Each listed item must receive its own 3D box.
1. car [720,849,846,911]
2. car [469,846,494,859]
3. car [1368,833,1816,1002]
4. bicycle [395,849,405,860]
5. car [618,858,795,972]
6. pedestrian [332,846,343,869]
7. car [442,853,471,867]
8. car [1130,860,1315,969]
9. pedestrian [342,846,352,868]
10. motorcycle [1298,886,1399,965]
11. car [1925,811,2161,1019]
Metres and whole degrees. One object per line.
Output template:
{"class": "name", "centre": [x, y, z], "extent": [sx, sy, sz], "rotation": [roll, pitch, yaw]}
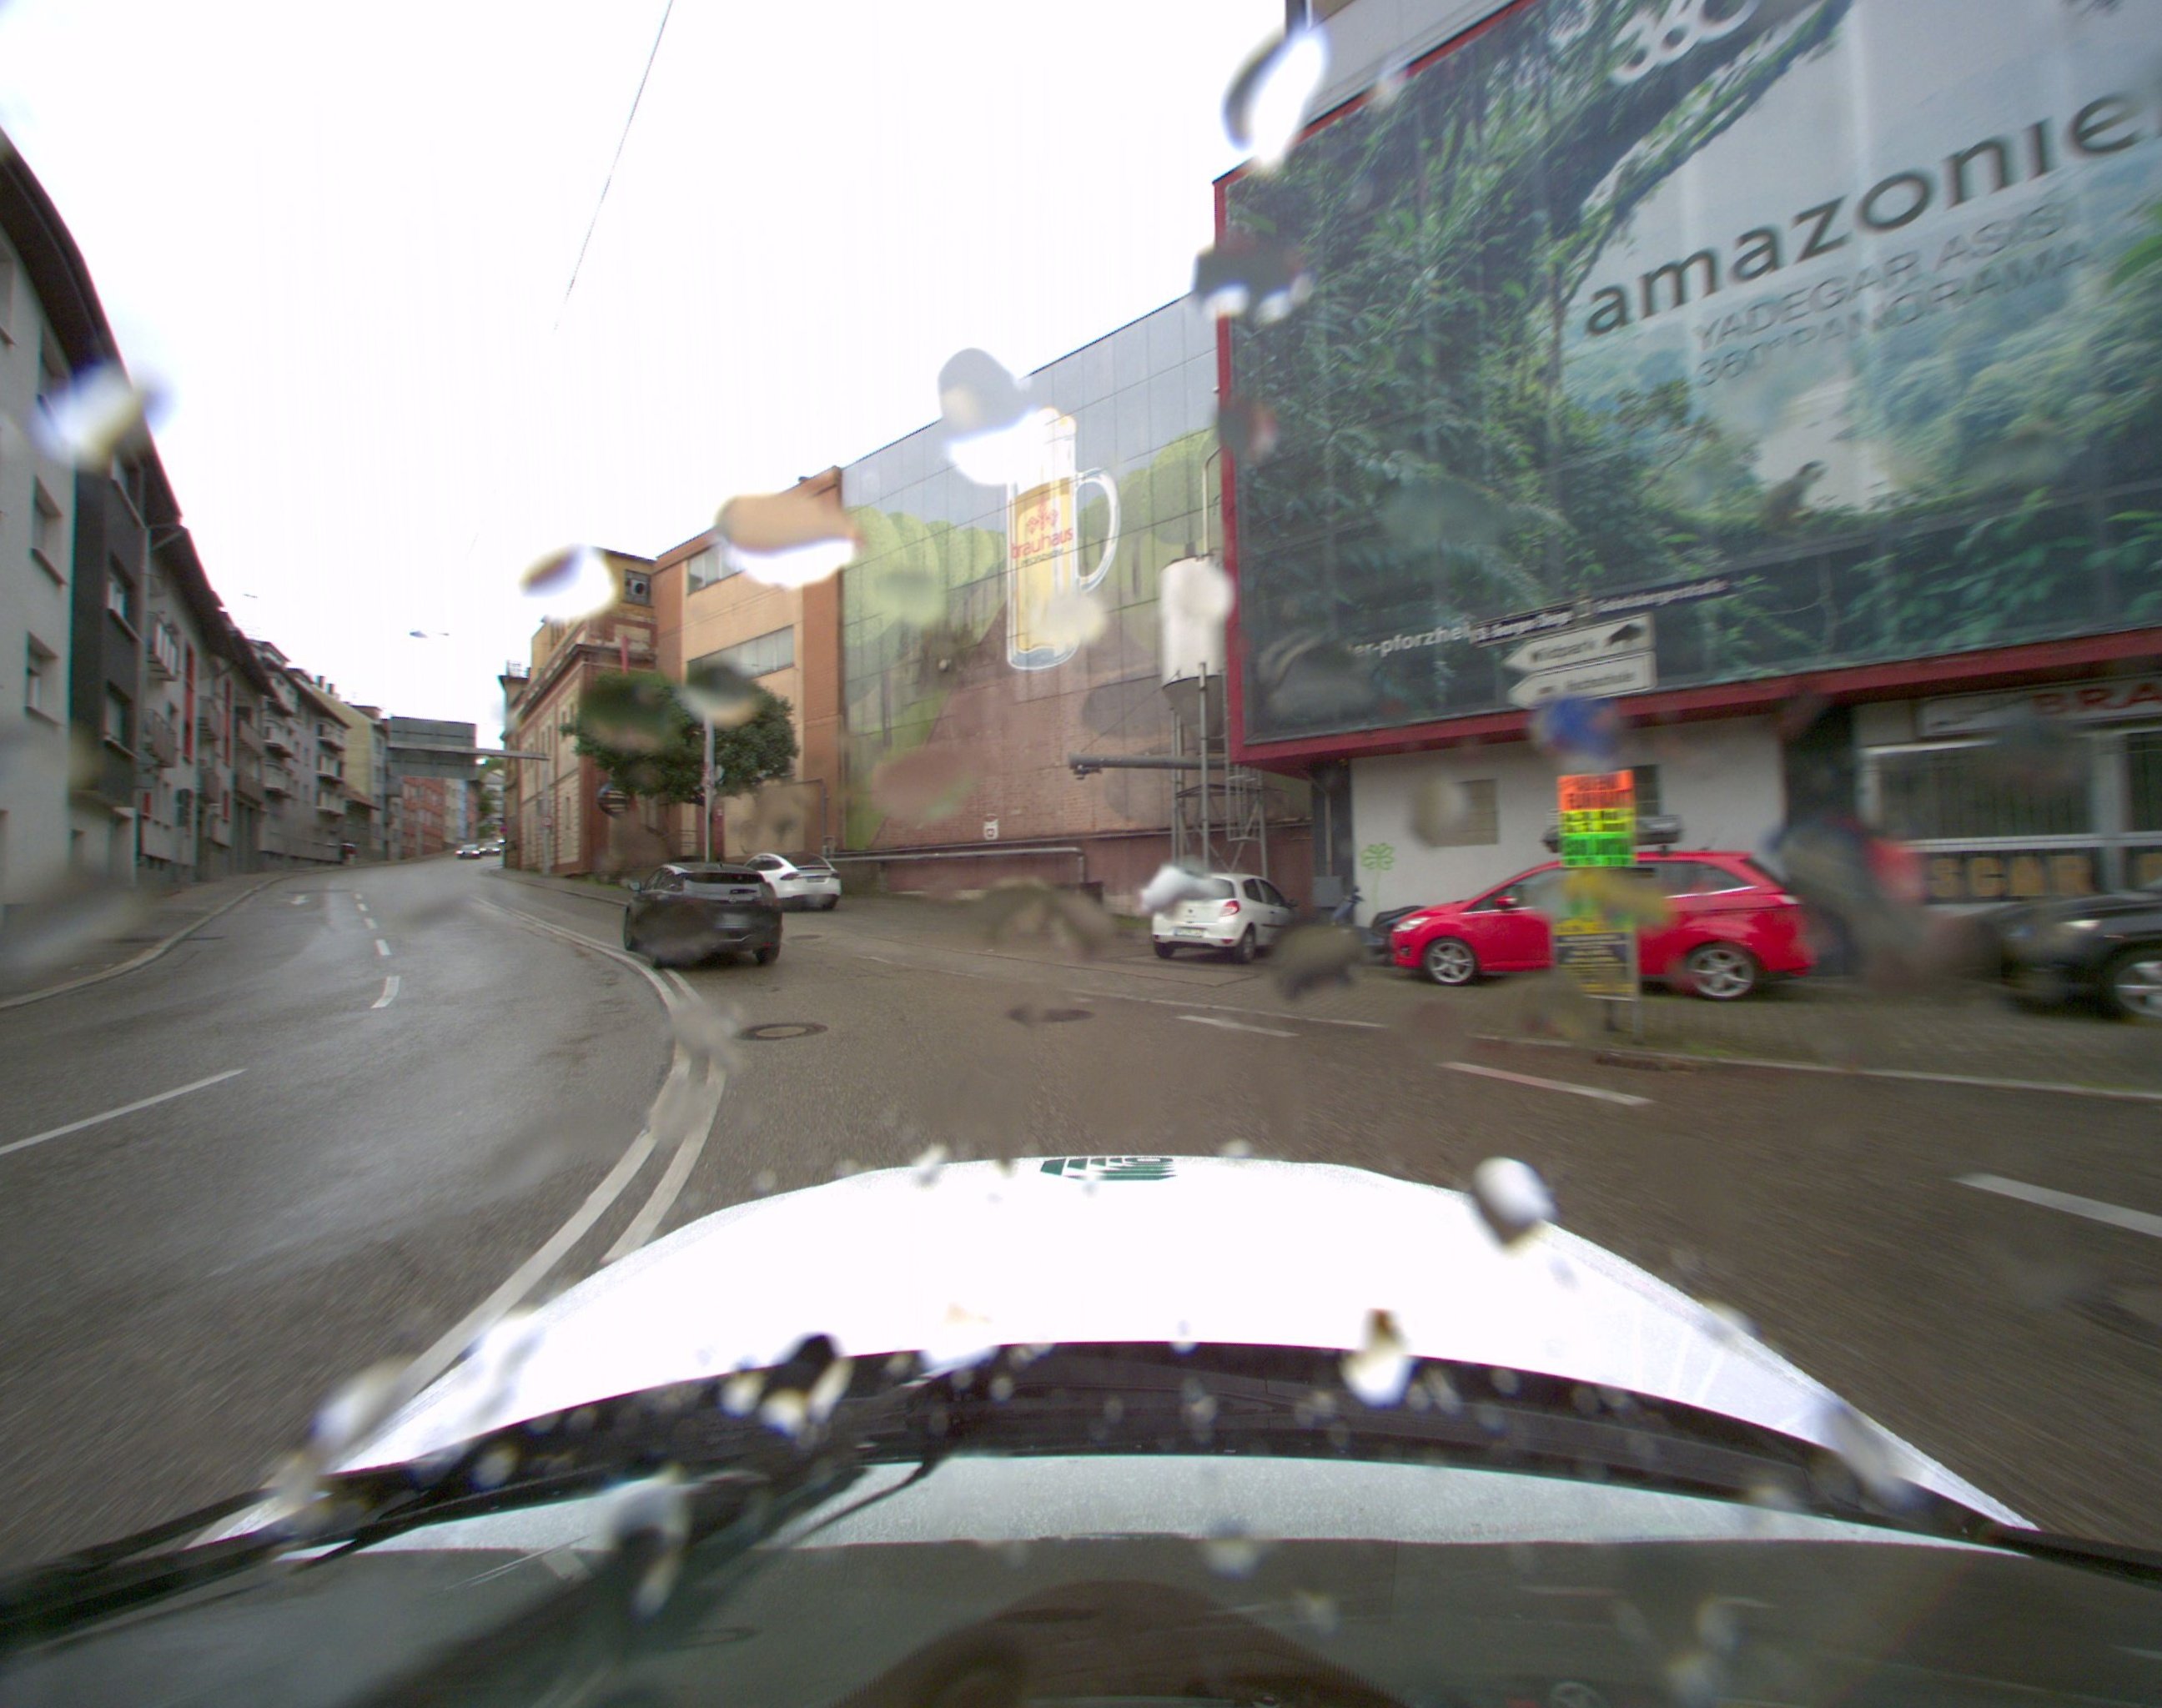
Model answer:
{"class": "car", "centre": [-9.259, 0.712, 25.064], "extent": [1.869, 1.617, 4.856], "rotation": [0, 1, -43]}
{"class": "car", "centre": [-73.880, -0.155, 100.369], "extent": [1.804, 1.510, 3.964], "rotation": [-1, -1, -27]}
{"class": "car", "centre": [6.240, 0.695, 10.369], "extent": [4.433, 1.711, 1.945], "rotation": [-2, -1, 37]}
{"class": "bicycle", "centre": [-72.083, 0.014, 86.196], "extent": [0.501, 1.107, 1.783], "rotation": [0, 2, -29]}
{"class": "car", "centre": [-6.344, 0.881, 13.575], "extent": [1.895, 1.594, 3.877], "rotation": [2, -1, -37]}
{"class": "pedestrian", "centre": [-59.981, 0.266, 65.693], "extent": [0.527, 1.776, 0.615], "rotation": [-1, 1, -36]}
{"class": "car", "centre": [-68.380, 0.682, 89.189], "extent": [1.804, 1.510, 3.964], "rotation": [-1, -1, -27]}
{"class": "car", "centre": [2.754, 1.001, 15.089], "extent": [1.851, 1.533, 4.019], "rotation": [-2, 1, 34]}
{"class": "pedestrian", "centre": [-59.500, 0.262, 66.029], "extent": [0.527, 1.776, 0.615], "rotation": [-1, 1, -36]}
{"class": "motorcycle", "centre": [4.157, 1.098, 12.674], "extent": [1.406, 1.161, 0.454], "rotation": [-2, -2, 25]}
{"class": "car", "centre": [10.298, 0.441, 6.962], "extent": [3.948, 1.711, 1.945], "rotation": [-4, -1, 37]}
